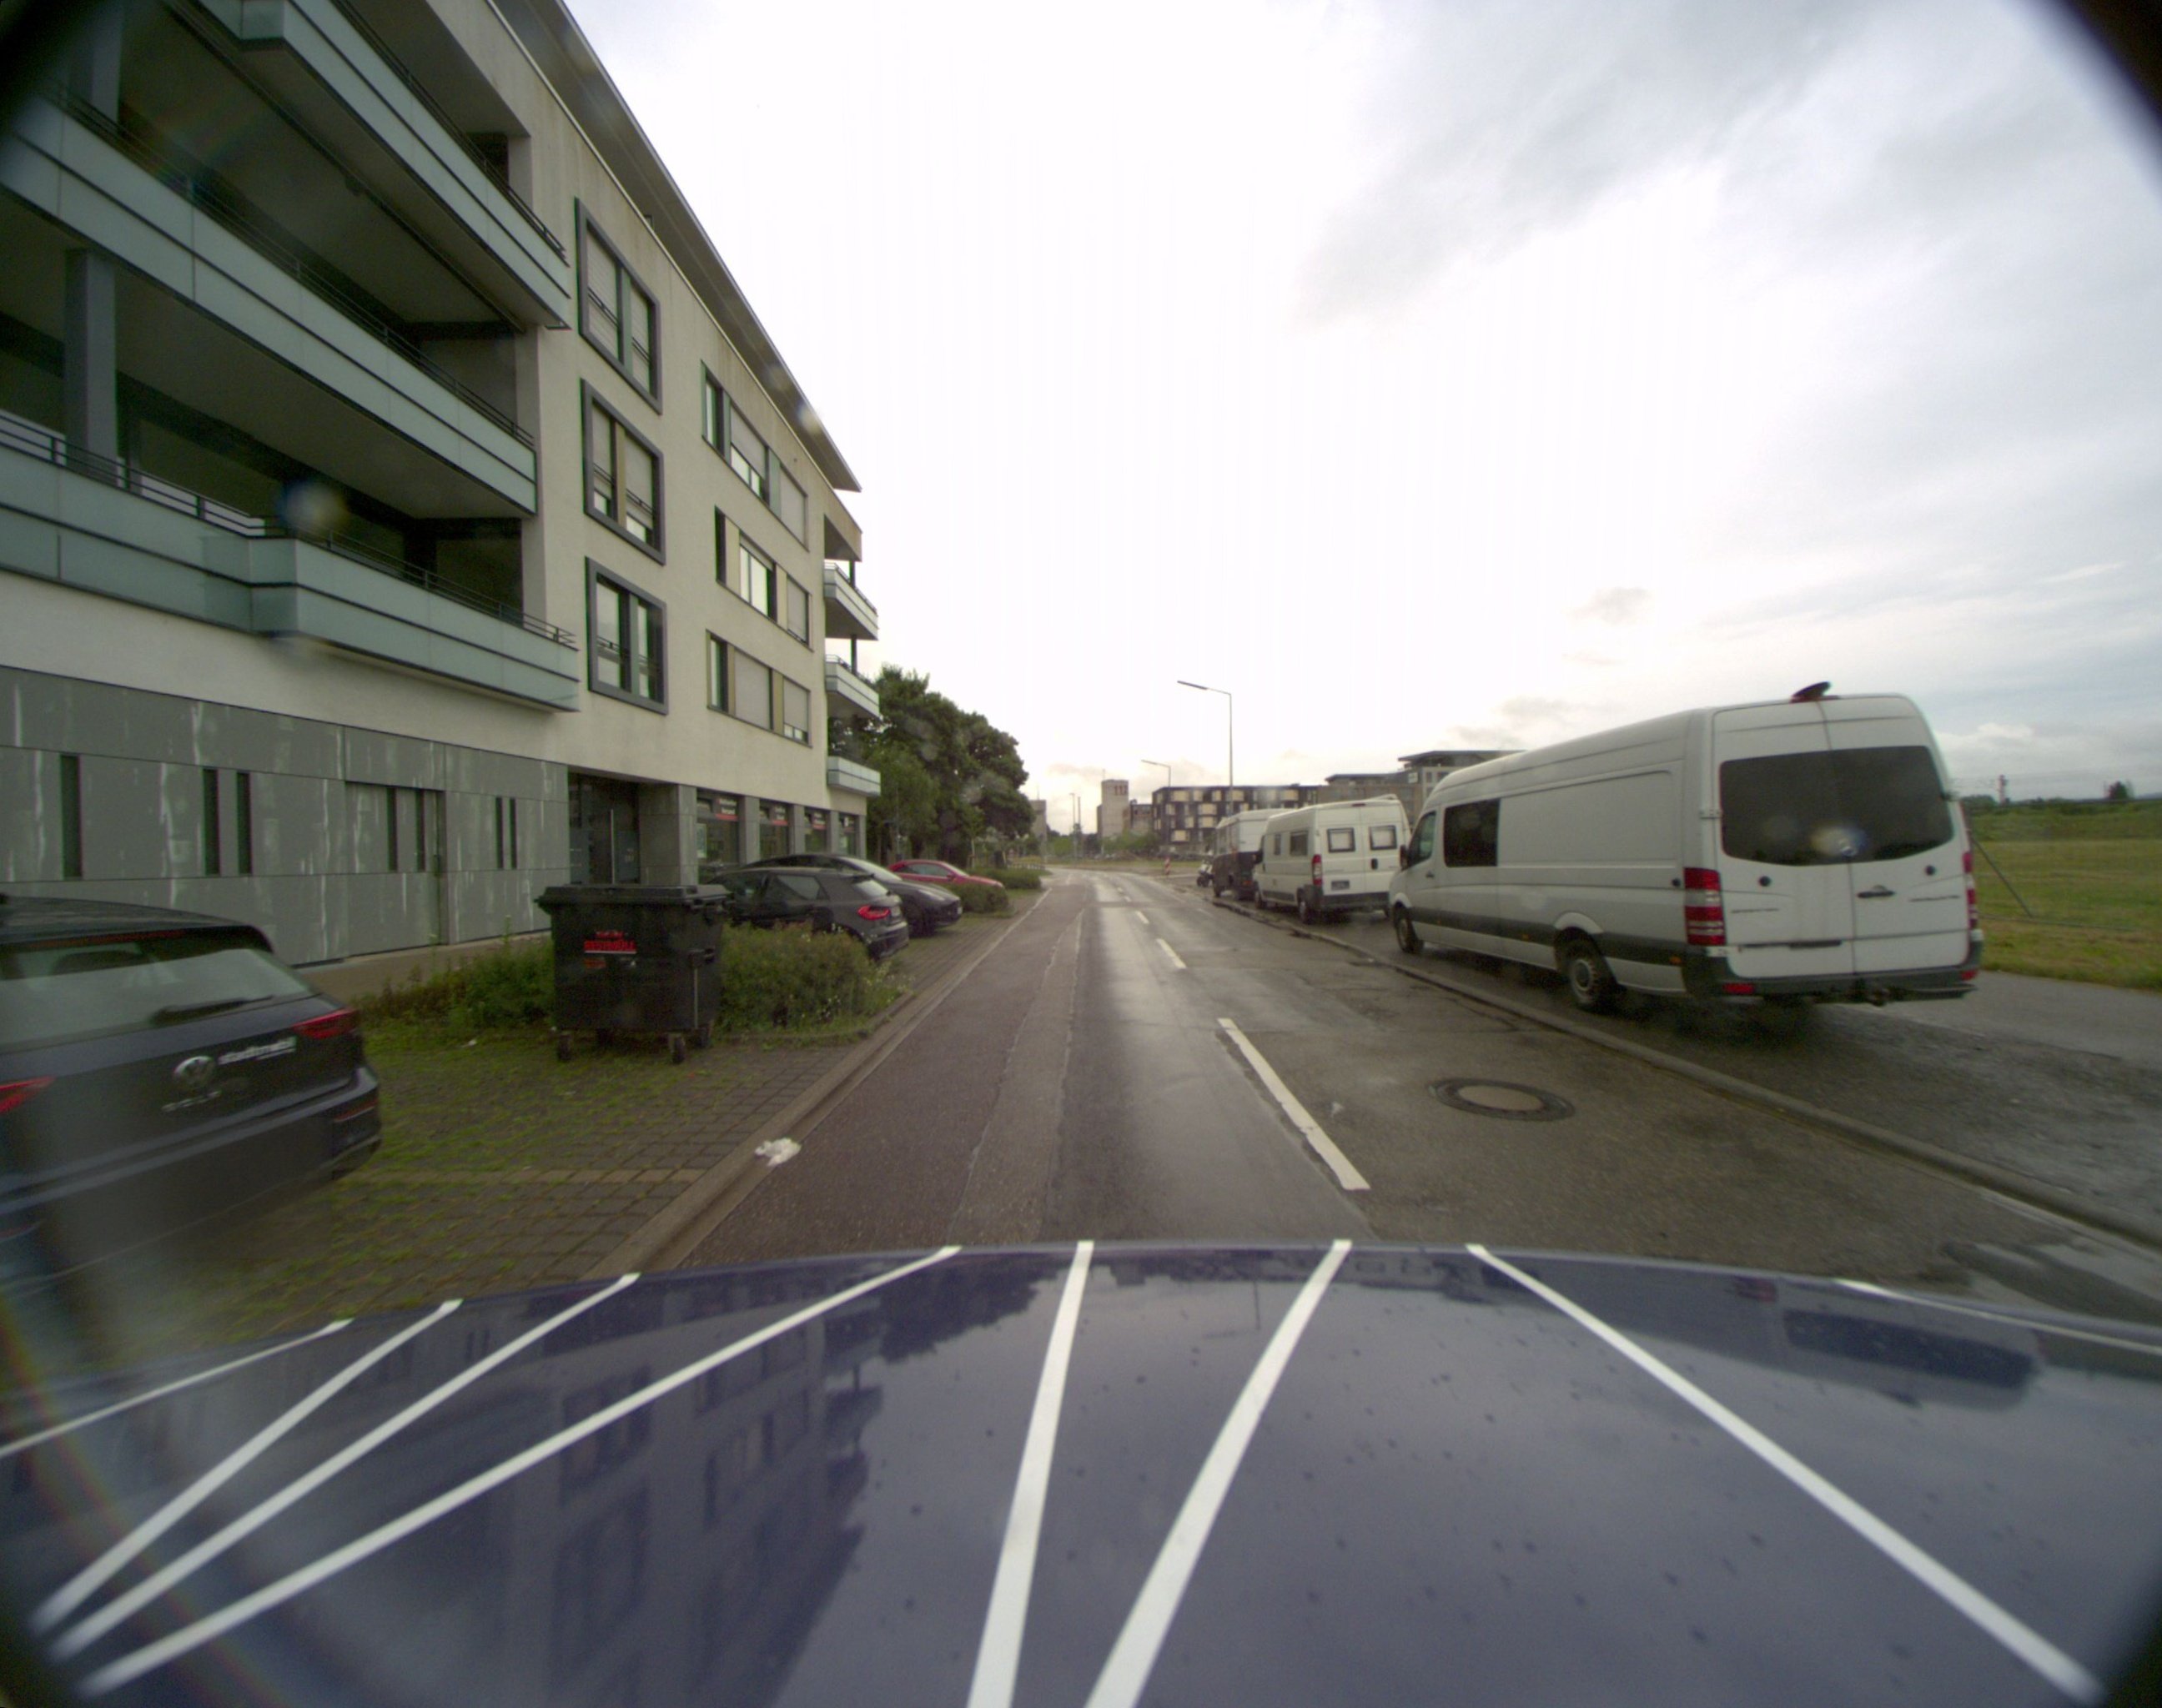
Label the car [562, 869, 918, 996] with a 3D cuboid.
[{"bbox_3d":[-4.421,0.992,10.319,3.997,1.478,1.786,-1,1,0],"label":"car"}]

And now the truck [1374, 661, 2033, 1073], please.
[{"bbox_3d":[5.571,0.080,8.586,2.046,2.750,6.737,-2,0,2],"label":"truck"}]

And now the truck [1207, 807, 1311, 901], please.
[{"bbox_3d":[5.698,-0.018,25.065,2.180,2.730,5.289,-1,1,1],"label":"truck"}]

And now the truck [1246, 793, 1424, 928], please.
[{"bbox_3d":[5.620,0.110,17.911,2.180,2.591,6.131,-1,0,1],"label":"truck"}]

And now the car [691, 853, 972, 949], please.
[{"bbox_3d":[-4.671,0.851,14.737,4.796,1.654,1.867,-1,1,0],"label":"car"}]

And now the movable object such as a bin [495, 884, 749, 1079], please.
[{"bbox_3d":[-3.550,0.949,6.011,1.352,1.330,0.976,-2,1,0],"label":"movable object such as a bin"}]

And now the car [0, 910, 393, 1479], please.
[{"bbox_3d":[-5.022,1.010,2.399,4.100,1.469,1.711,-1,1,0],"label":"car"}]

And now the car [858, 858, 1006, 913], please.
[{"bbox_3d":[-4.332,0.905,22.484,3.997,1.478,1.786,-1,1,0],"label":"car"}]
